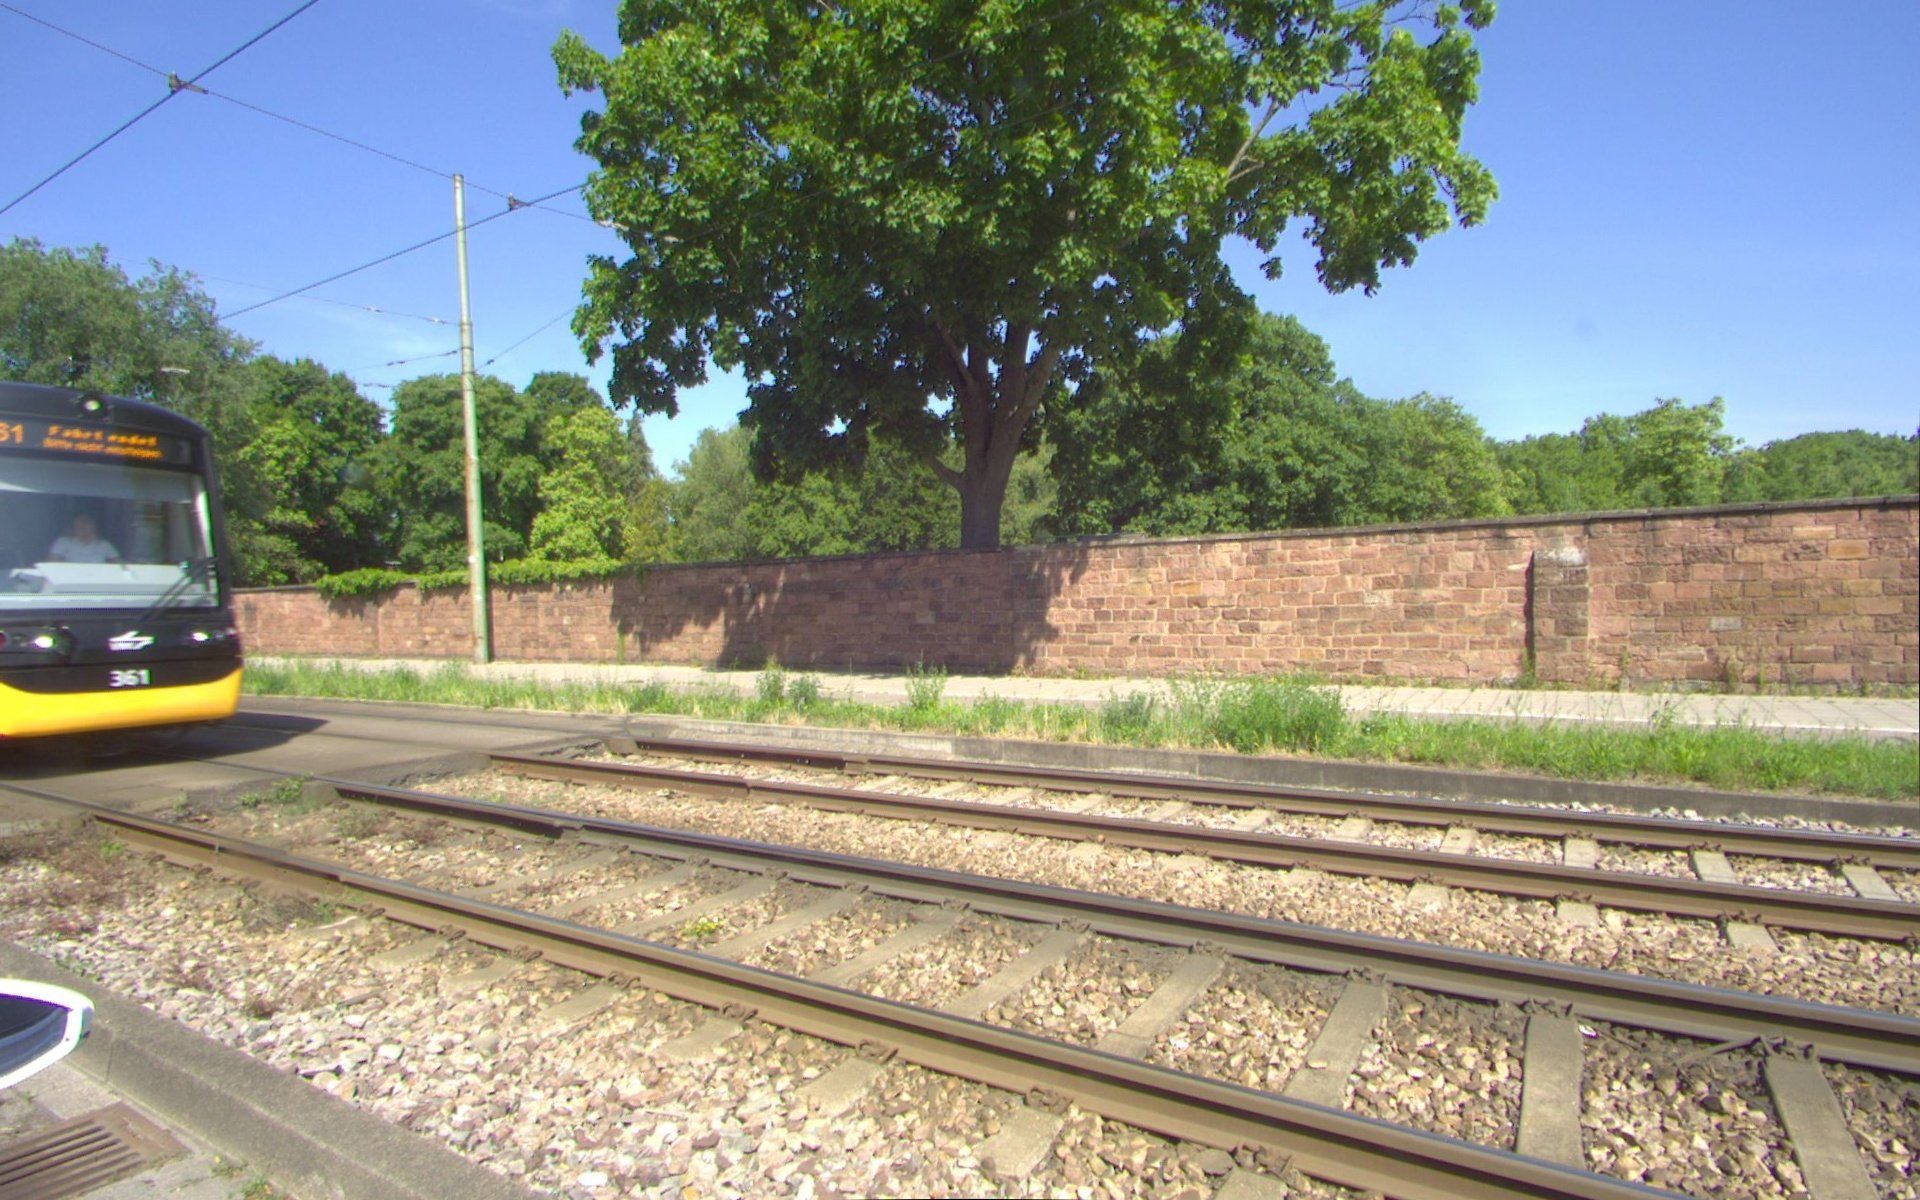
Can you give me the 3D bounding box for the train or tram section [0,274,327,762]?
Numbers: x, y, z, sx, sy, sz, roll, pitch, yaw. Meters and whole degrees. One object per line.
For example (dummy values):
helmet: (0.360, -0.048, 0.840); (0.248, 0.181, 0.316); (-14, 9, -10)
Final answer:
train or tram section: (-12.485, -0.589, 11.923); (12.203, 3.907, 2.867); (-1, 1, 29)
